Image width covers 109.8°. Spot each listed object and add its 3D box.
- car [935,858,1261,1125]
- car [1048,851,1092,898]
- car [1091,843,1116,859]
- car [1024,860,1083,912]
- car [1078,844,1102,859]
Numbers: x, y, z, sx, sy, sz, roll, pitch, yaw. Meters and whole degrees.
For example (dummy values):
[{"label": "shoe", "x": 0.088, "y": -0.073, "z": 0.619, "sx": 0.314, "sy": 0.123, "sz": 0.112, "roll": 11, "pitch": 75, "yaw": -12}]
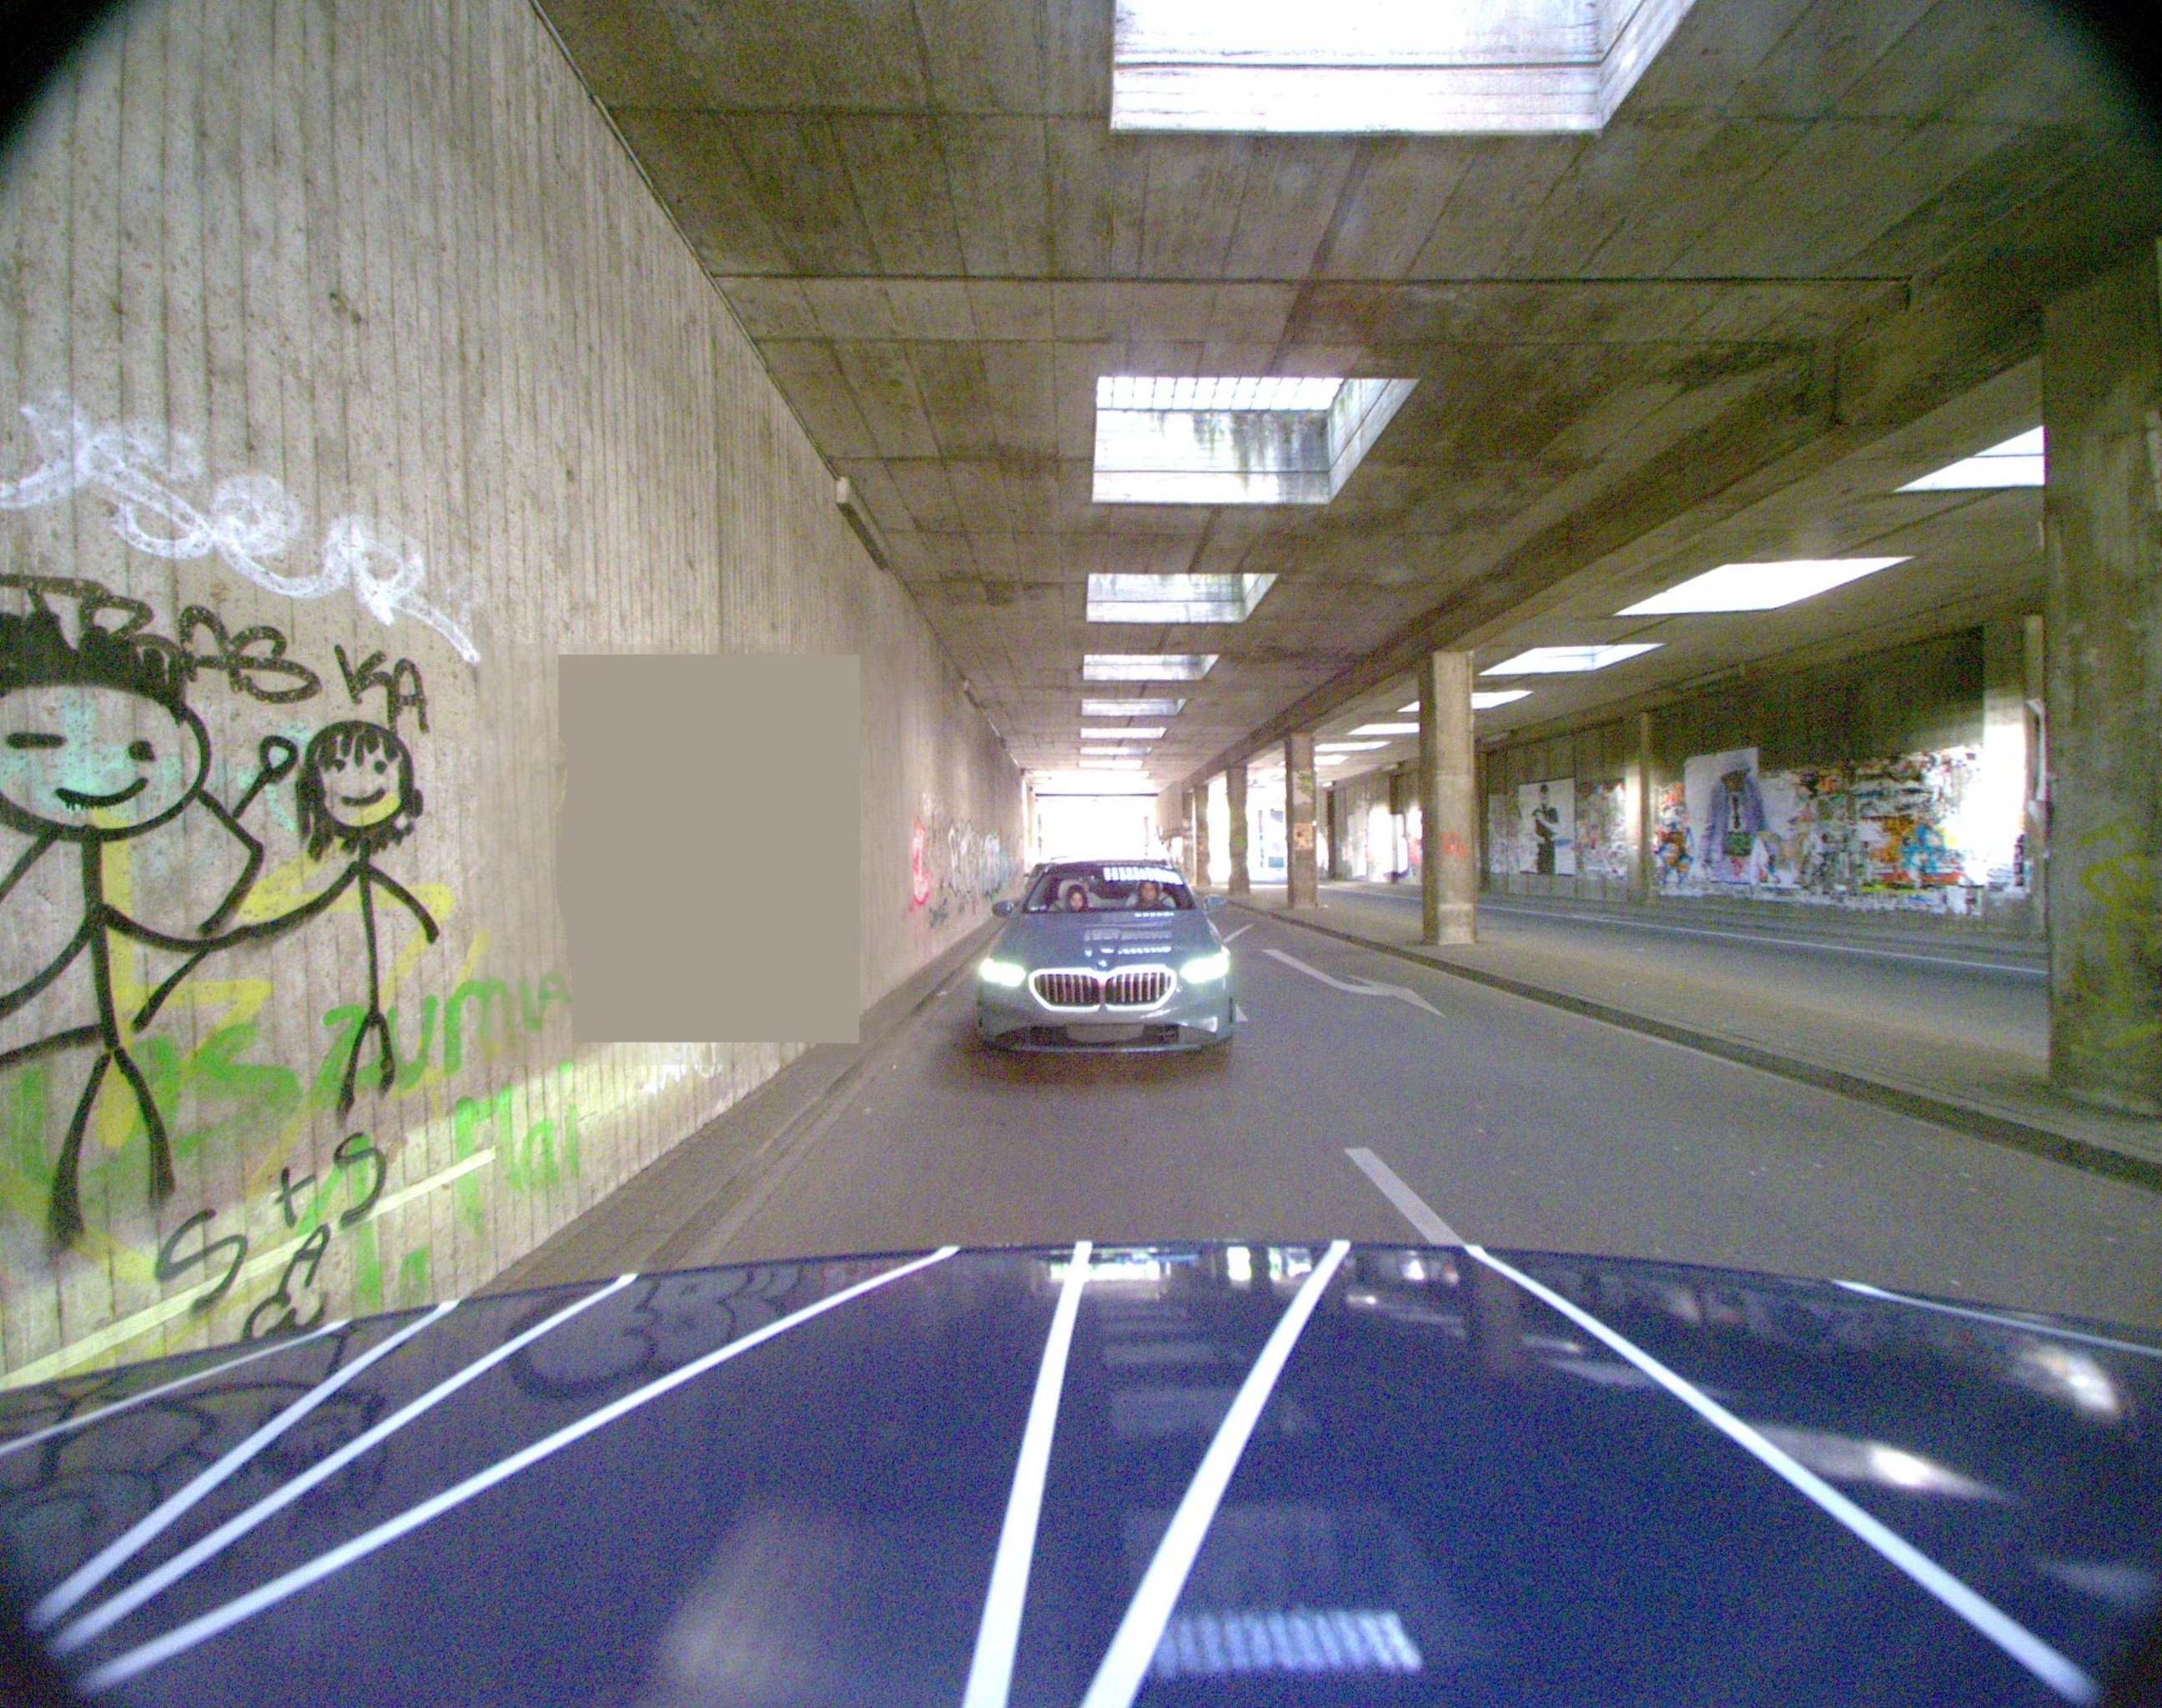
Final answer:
[{"label": "car", "x": 0.184, "y": 0.877, "z": 7.323, "sx": 1.998, "sy": 1.594, "sz": 5.176, "roll": -1, "pitch": 0, "yaw": 2}, {"label": "car", "x": -0.371, "y": 0.762, "z": 29.904, "sx": 1.581, "sy": 1.676, "sz": 4.078, "roll": -2, "pitch": 0, "yaw": 1}, {"label": "car", "x": 2.850, "y": -0.344, "z": 97.535, "sx": 2.361, "sy": 2.002, "sz": 5.146, "roll": -1, "pitch": 0, "yaw": -8}, {"label": "car", "x": -0.793, "y": 0.943, "z": 23.897, "sx": 1.593, "sy": 1.387, "sz": 3.833, "roll": -2, "pitch": 0, "yaw": 1}, {"label": "car", "x": 1.196, "y": -0.350, "z": 103.548, "sx": 2.361, "sy": 2.002, "sz": 5.146, "roll": -1, "pitch": 0, "yaw": -8}]
